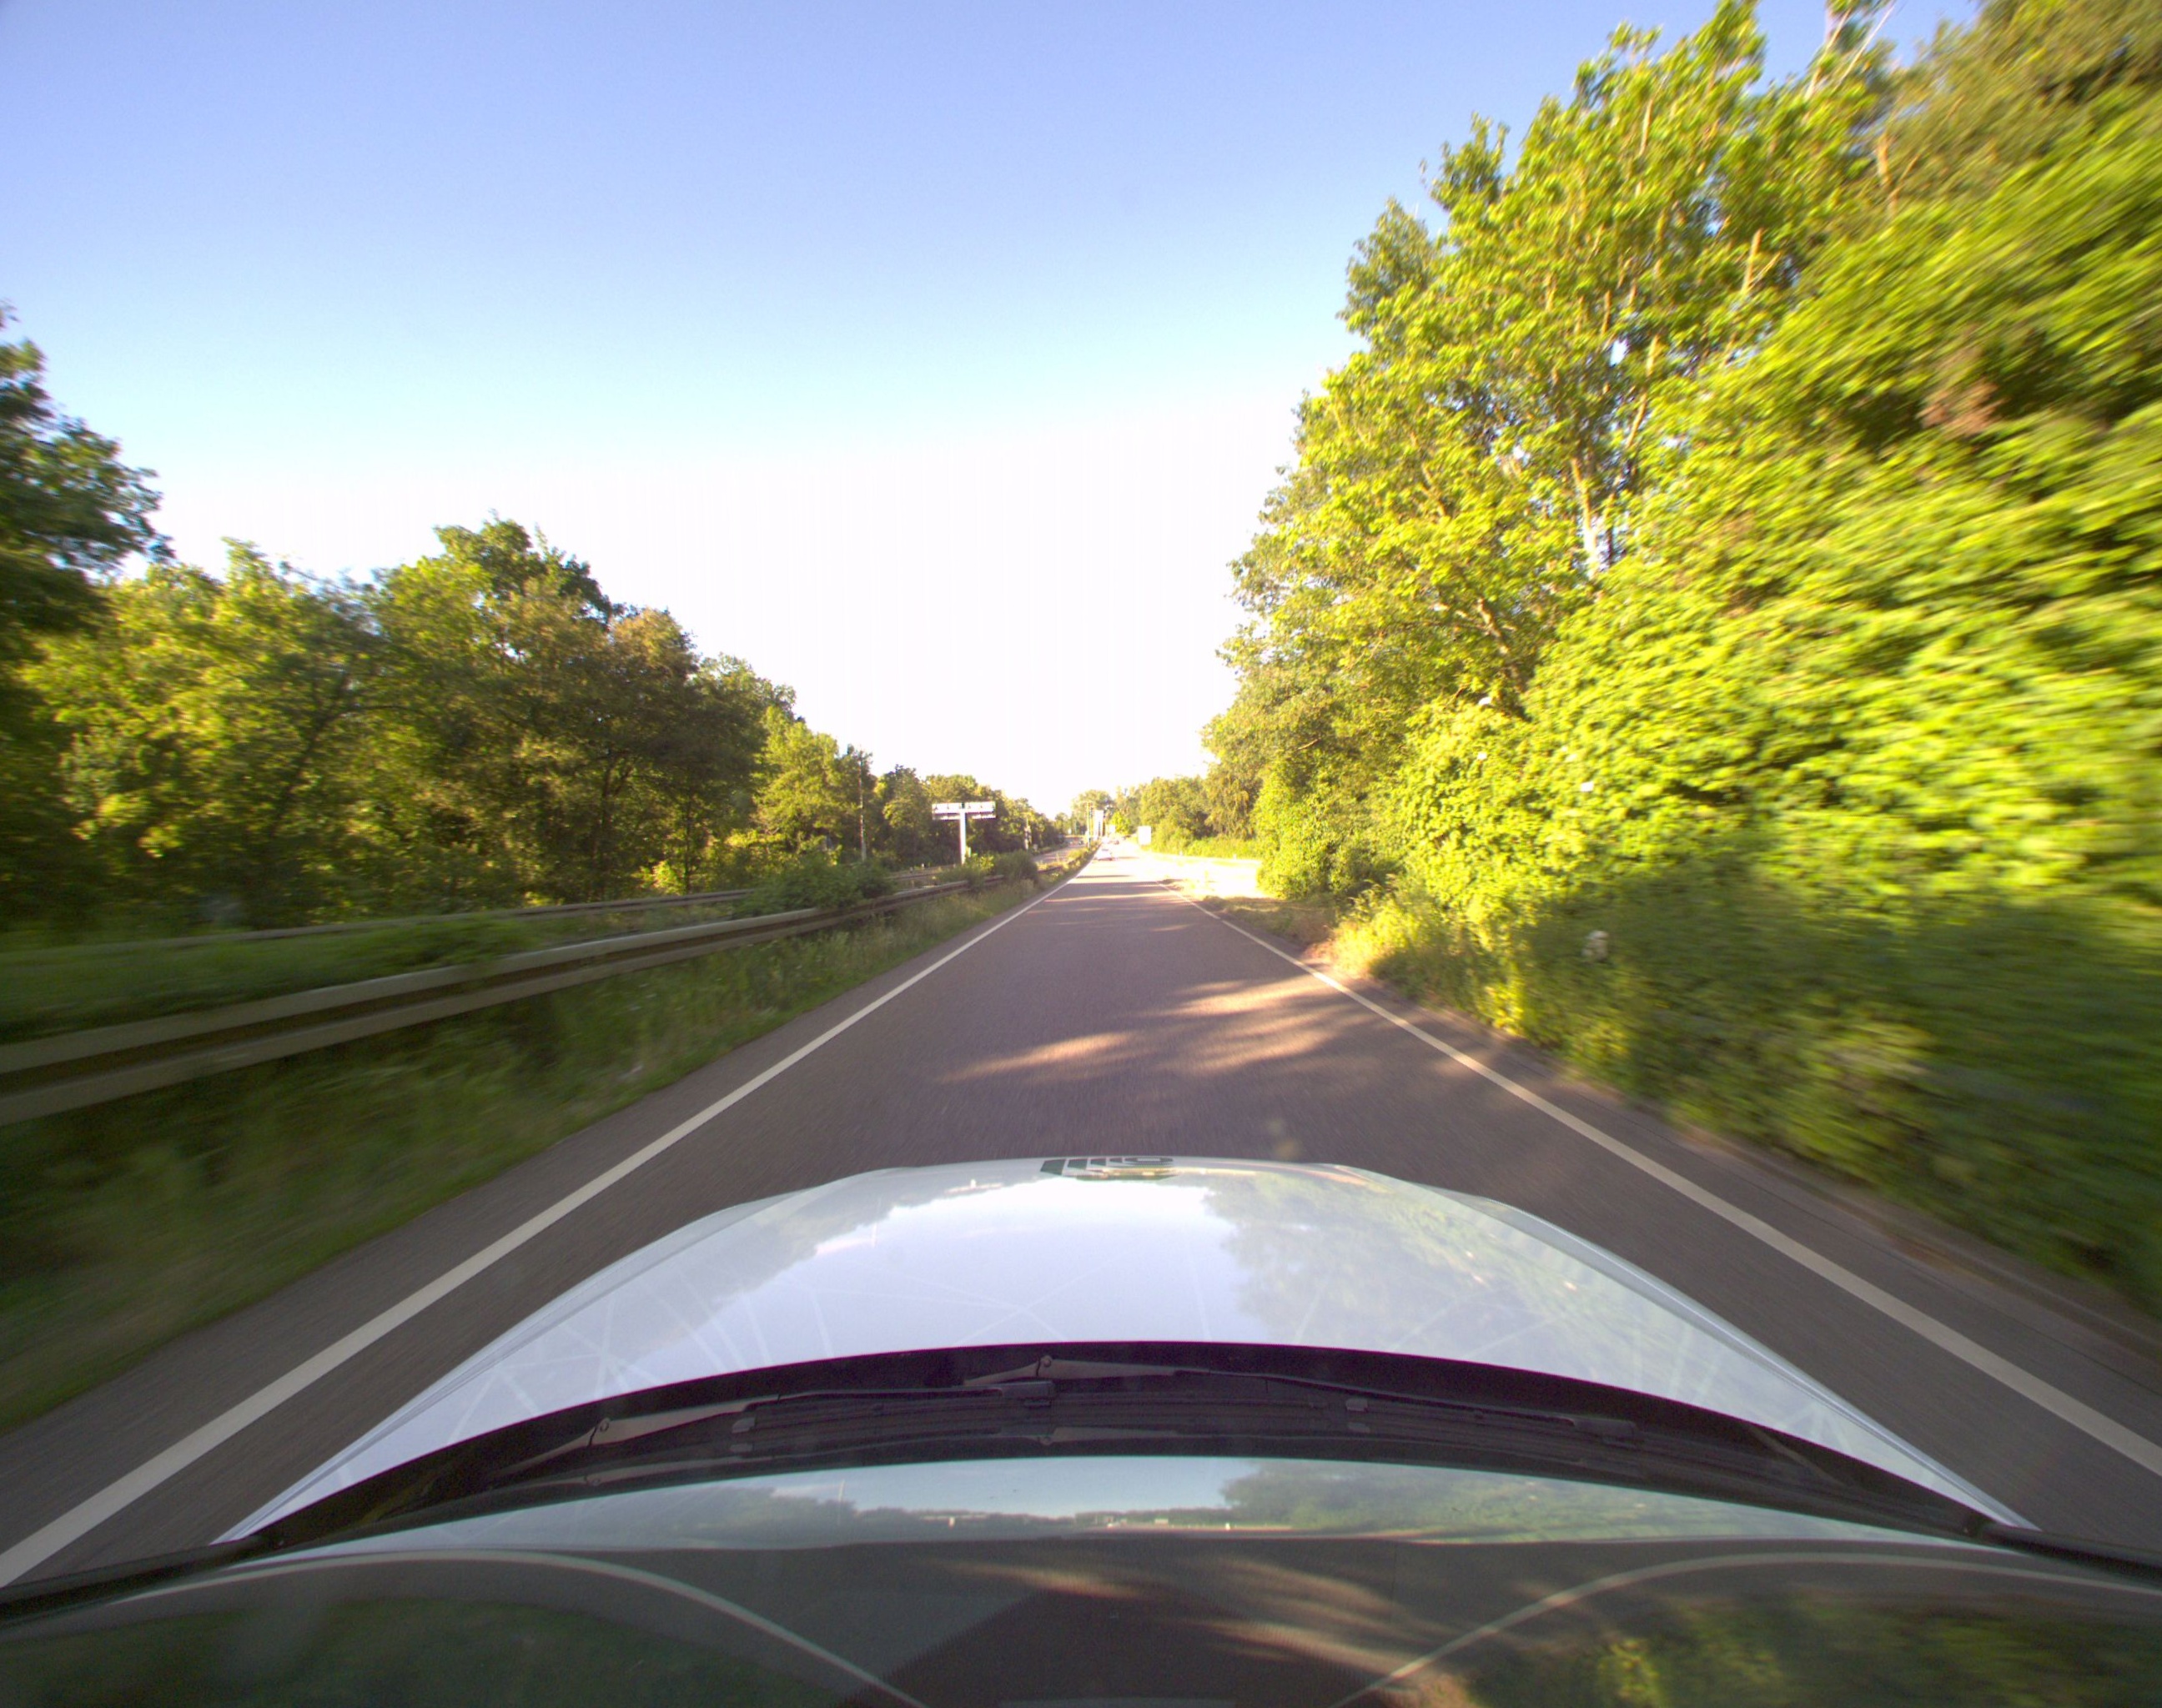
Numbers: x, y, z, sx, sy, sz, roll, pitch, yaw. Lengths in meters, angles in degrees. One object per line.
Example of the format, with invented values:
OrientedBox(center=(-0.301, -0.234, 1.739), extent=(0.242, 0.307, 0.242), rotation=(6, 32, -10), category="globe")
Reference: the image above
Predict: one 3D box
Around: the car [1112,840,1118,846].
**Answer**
OrientedBox(center=(10.675, -3.567, 255.130), extent=(1.790, 1.829, 3.420), rotation=(1, 0, 3), category="car")

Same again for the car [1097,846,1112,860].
OrientedBox(center=(3.144, -0.177, 110.115), extent=(1.879, 1.816, 3.998), rotation=(0, 0, -1), category="car")
